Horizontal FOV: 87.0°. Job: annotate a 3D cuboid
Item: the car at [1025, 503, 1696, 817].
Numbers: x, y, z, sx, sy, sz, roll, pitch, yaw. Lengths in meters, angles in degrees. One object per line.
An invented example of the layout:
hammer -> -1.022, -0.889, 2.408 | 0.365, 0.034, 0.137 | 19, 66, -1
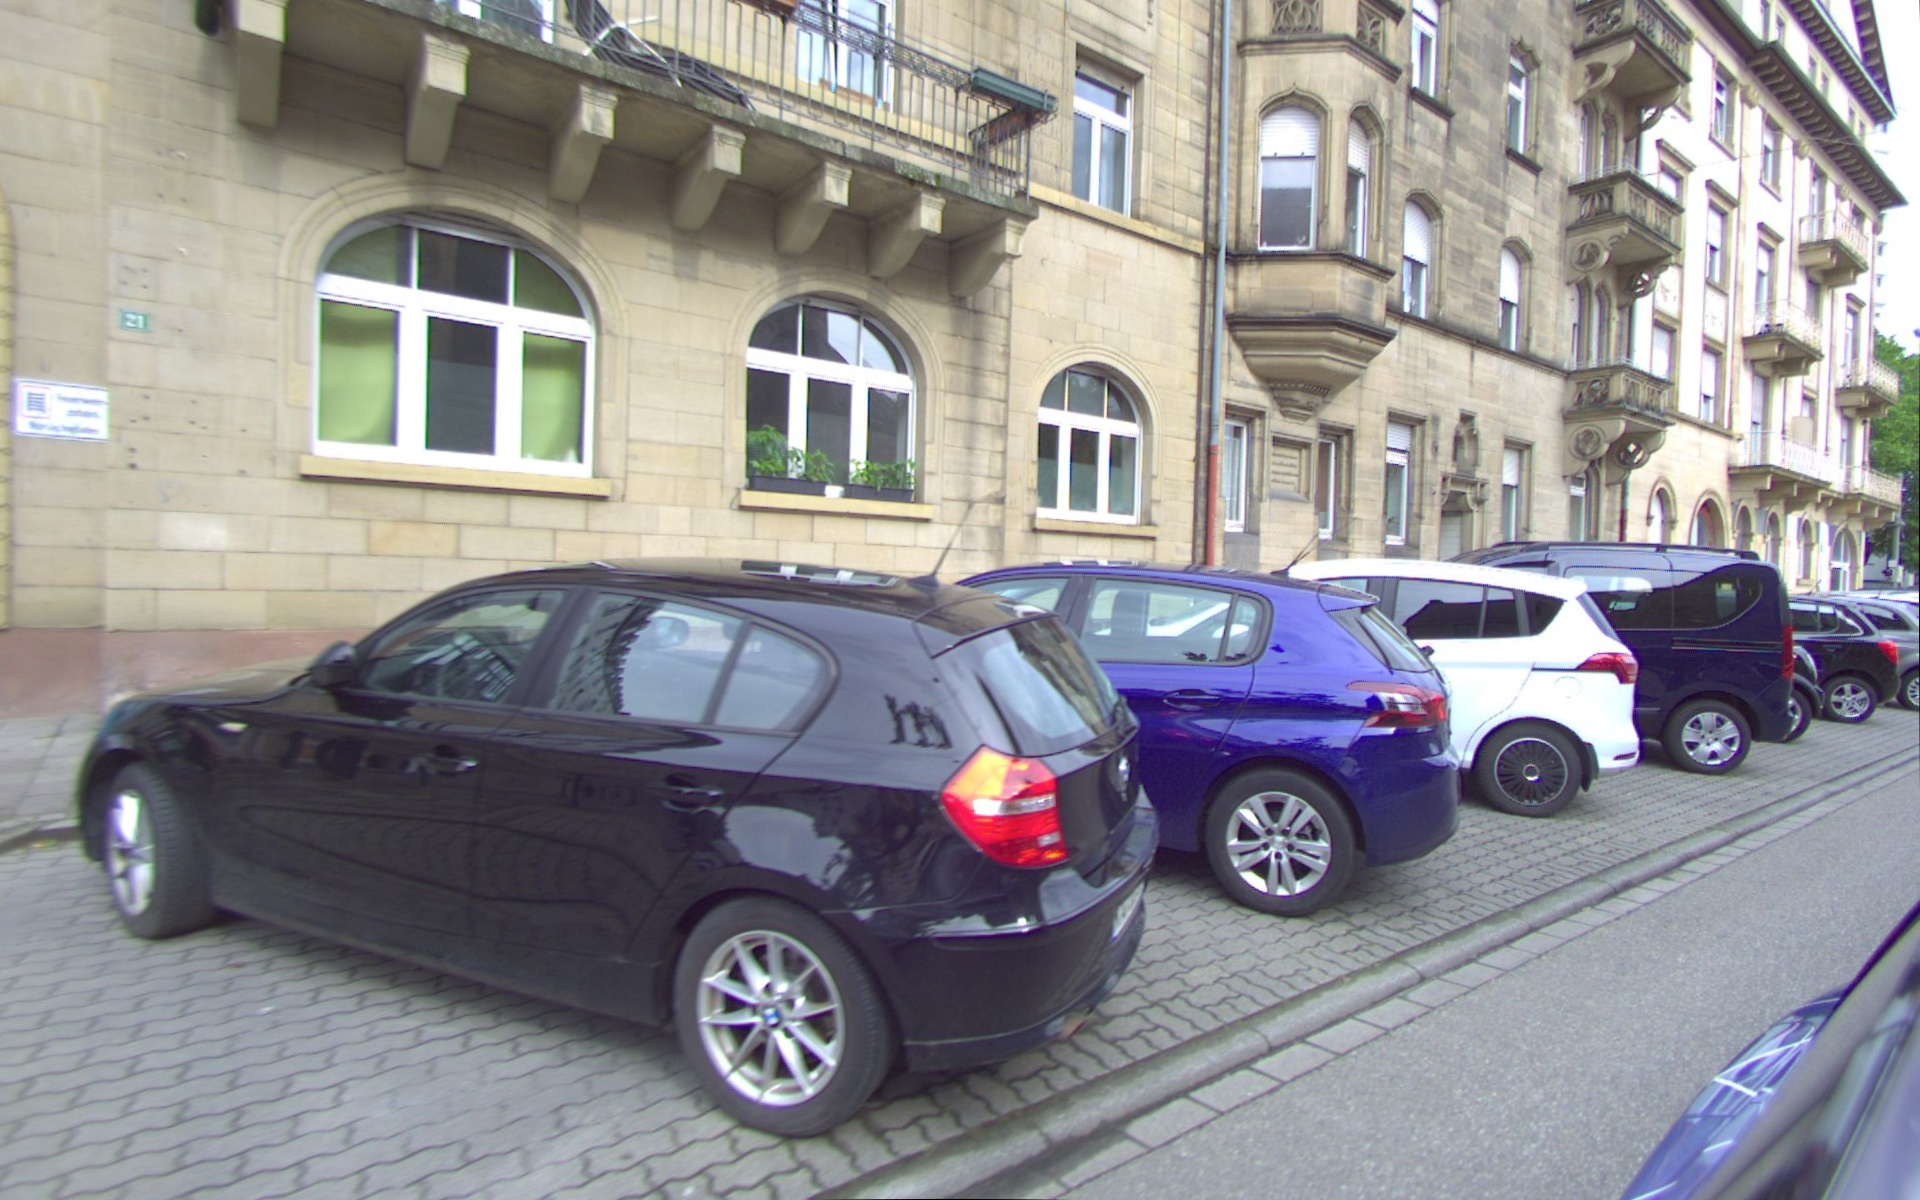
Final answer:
car -> 2.608, 0.290, 7.384 | 3.942, 1.620, 1.759 | 5, 3, 13

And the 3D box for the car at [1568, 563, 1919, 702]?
car -> 11.793, 0.425, 14.908 | 4.402, 1.592, 1.740 | 5, 3, 15

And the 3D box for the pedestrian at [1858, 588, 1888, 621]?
pedestrian -> 48.024, 0.229, 53.238 | 0.728, 1.716, 0.881 | 0, 2, -12

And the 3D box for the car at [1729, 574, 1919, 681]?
car -> 17.055, 0.508, 18.570 | 4.172, 1.702, 1.905 | 4, 4, 19

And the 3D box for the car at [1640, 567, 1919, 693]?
car -> 14.375, 0.474, 16.744 | 4.689, 1.705, 1.927 | 4, 4, 17

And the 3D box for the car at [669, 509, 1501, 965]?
car -> 0.615, 0.451, 5.641 | 3.959, 1.552, 1.917 | 6, 3, 24

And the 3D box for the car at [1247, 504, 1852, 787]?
car -> 4.955, 0.281, 9.232 | 4.218, 1.929, 1.874 | 5, 3, 12

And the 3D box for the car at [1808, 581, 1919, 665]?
car -> 21.281, 0.587, 22.043 | 3.769, 1.579, 1.793 | 5, 5, 7

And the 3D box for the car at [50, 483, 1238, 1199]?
car -> -1.352, 0.483, 3.713 | 4.225, 1.496, 1.668 | 6, 3, 29

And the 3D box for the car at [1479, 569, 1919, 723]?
car -> 9.461, 0.494, 13.168 | 4.401, 1.571, 1.844 | 3, 3, 15

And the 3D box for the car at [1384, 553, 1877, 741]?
car -> 7.161, 0.392, 11.374 | 4.013, 1.470, 2.024 | 6, 4, 14
